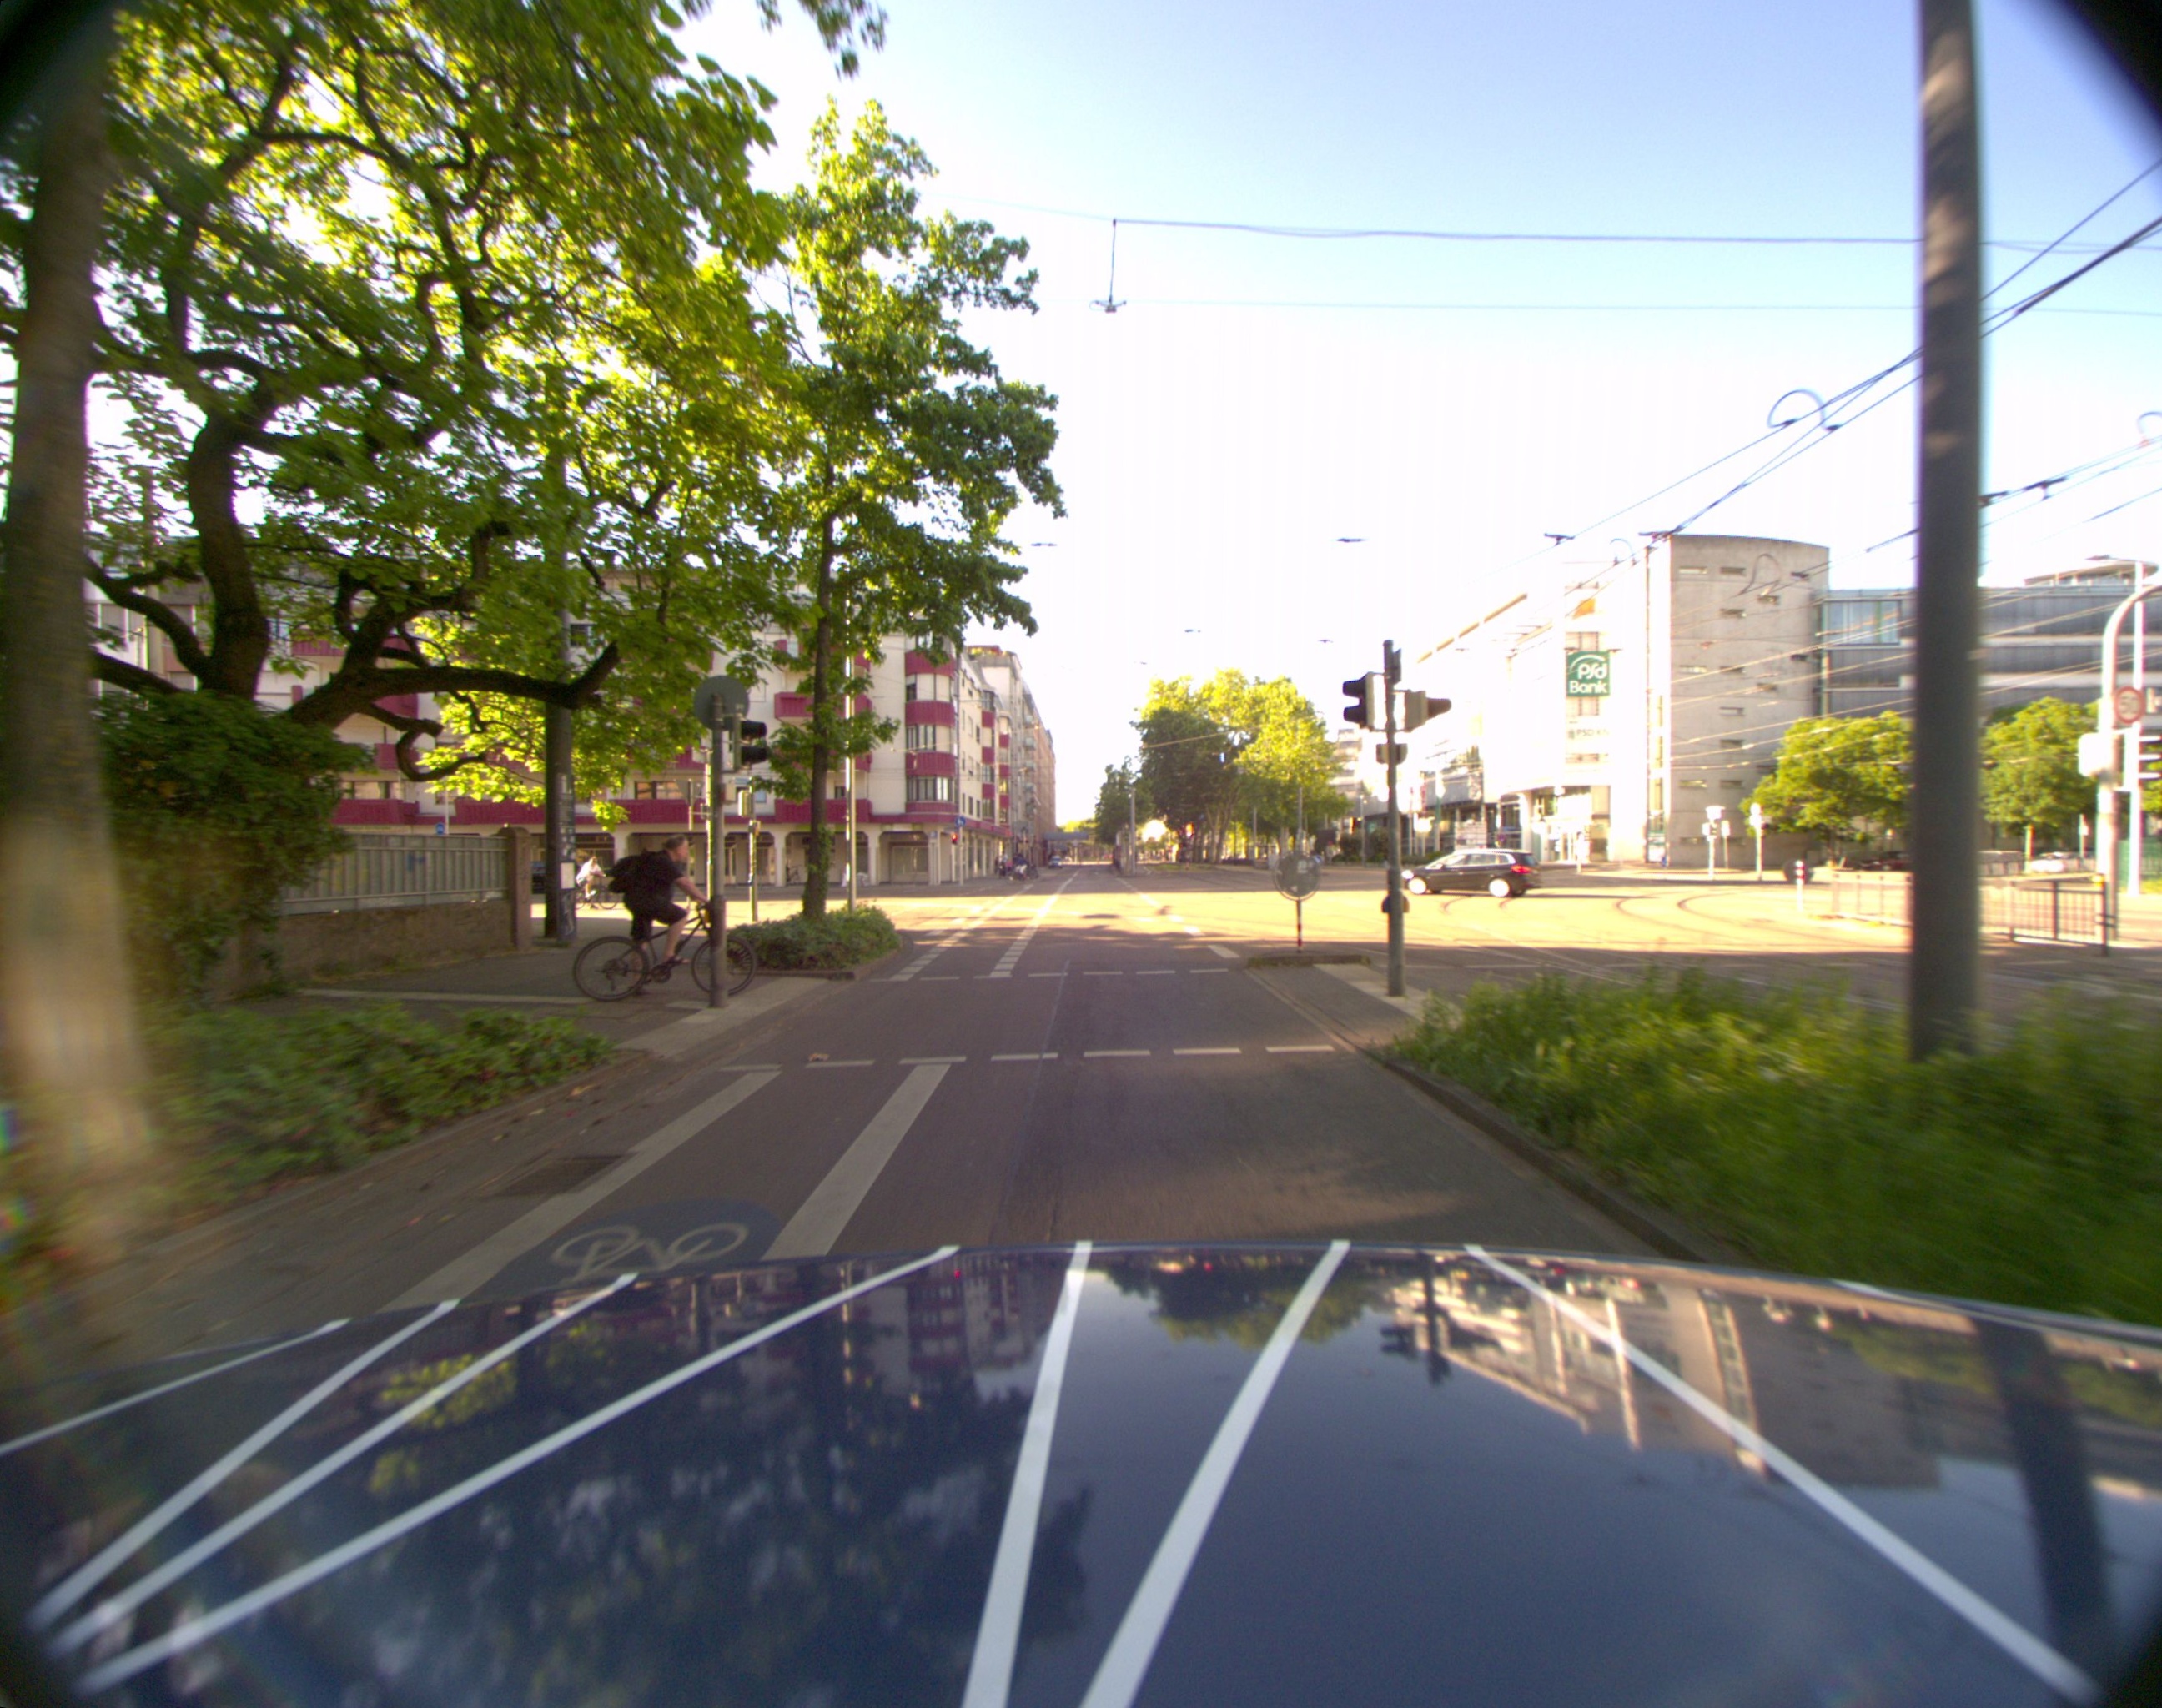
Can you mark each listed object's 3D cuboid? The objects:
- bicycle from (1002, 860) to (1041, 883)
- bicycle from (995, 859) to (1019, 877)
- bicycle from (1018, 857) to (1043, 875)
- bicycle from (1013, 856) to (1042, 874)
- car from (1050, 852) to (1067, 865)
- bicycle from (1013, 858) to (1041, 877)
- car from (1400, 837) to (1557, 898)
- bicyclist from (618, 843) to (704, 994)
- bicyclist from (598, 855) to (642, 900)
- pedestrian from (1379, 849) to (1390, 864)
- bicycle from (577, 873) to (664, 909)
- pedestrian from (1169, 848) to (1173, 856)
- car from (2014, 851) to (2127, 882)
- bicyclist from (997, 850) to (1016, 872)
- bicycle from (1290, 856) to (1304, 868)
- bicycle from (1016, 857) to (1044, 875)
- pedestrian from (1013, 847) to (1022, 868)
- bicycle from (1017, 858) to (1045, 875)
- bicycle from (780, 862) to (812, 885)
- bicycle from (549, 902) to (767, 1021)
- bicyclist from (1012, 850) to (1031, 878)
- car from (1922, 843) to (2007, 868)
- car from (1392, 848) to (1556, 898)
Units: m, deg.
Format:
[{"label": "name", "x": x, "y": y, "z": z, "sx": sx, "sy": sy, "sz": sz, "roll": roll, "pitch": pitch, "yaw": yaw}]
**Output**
[{"label": "bicycle", "x": -3.258, "y": 0.947, "z": 41.542, "sx": 2.044, "sy": 1.182, "sz": 0.590, "roll": -1, "pitch": 1, "yaw": -15}, {"label": "bicycle", "x": -5.186, "y": 0.958, "z": 53.378, "sx": 0.962, "sy": 1.176, "sz": 2.600, "roll": -1, "pitch": 0, "yaw": 10}, {"label": "bicycle", "x": -3.457, "y": 0.837, "z": 51.705, "sx": 1.626, "sy": 1.192, "sz": 0.496, "roll": 0, "pitch": 1, "yaw": 6}, {"label": "bicycle", "x": -3.735, "y": 0.779, "z": 53.156, "sx": 1.982, "sy": 1.192, "sz": 0.591, "roll": 0, "pitch": 1, "yaw": -3}, {"label": "car", "x": -2.951, "y": 0.609, "z": 98.774, "sx": 1.837, "sy": 1.613, "sz": 4.285, "roll": 2, "pitch": 0, "yaw": 2}, {"label": "bicycle", "x": -3.608, "y": 0.907, "z": 50.970, "sx": 1.805, "sy": 1.193, "sz": 0.546, "roll": 0, "pitch": 2, "yaw": 6}, {"label": "car", "x": 13.718, "y": 0.447, "z": 26.401, "sx": 2.004, "sy": 1.936, "sz": 4.411, "roll": -1, "pitch": 0, "yaw": -44}, {"label": "bicyclist", "x": -4.443, "y": 0.645, "z": 8.086, "sx": 0.703, "sy": 1.501, "sz": 0.750, "roll": -1, "pitch": 1, "yaw": -23}, {"label": "bicyclist", "x": -15.506, "y": 0.780, "z": 25.603, "sx": 0.928, "sy": 1.500, "sz": 1.011, "roll": -1, "pitch": 0, "yaw": -9}, {"label": "pedestrian", "x": 31.992, "y": 0.222, "z": 80.073, "sx": 0.908, "sy": 1.583, "sz": 0.767, "roll": 0, "pitch": 1, "yaw": 1}, {"label": "bicycle", "x": -15.480, "y": 1.237, "z": 25.610, "sx": 2.331, "sy": 1.112, "sz": 0.845, "roll": -1, "pitch": 0, "yaw": -10}, {"label": "pedestrian", "x": 18.514, "y": -0.405, "z": 156.759, "sx": 0.656, "sy": 1.744, "sz": 0.676, "roll": -1, "pitch": 1, "yaw": -6}, {"label": "car", "x": 55.849, "y": 0.689, "z": 42.942, "sx": 3.969, "sy": 1.687, "sz": 2.107, "roll": 0, "pitch": 0, "yaw": -5}, {"label": "bicyclist", "x": -5.209, "y": 0.472, "z": 53.235, "sx": 1.058, "sy": 1.531, "sz": 1.080, "roll": 0, "pitch": 1, "yaw": 10}, {"label": "bicycle", "x": 17.609, "y": 0.616, "z": 62.012, "sx": 0.814, "sy": 0.940, "sz": 1.727, "roll": -1, "pitch": 0, "yaw": 8}, {"label": "bicycle", "x": -3.487, "y": 0.827, "z": 52.278, "sx": 1.835, "sy": 1.213, "sz": 0.496, "roll": -1, "pitch": 1, "yaw": 5}, {"label": "pedestrian", "x": -5.730, "y": 0.320, "z": 68.360, "sx": 0.724, "sy": 1.847, "sz": 0.801, "roll": 0, "pitch": 1, "yaw": 1}, {"label": "bicycle", "x": -3.504, "y": 0.897, "z": 53.787, "sx": 1.945, "sy": 1.163, "sz": 0.572, "roll": 0, "pitch": 1, "yaw": -1}, {"label": "bicycle", "x": -15.649, "y": 1.064, "z": 41.673, "sx": 1.793, "sy": 1.192, "sz": 0.617, "roll": 0, "pitch": 1, "yaw": 29}, {"label": "bicycle", "x": -4.415, "y": 1.093, "z": 8.098, "sx": 1.953, "sy": 1.064, "sz": 0.640, "roll": -1, "pitch": 1, "yaw": -23}, {"label": "bicyclist", "x": -3.262, "y": 0.540, "z": 41.546, "sx": 0.882, "sy": 1.485, "sz": 0.722, "roll": -1, "pitch": 1, "yaw": -15}, {"label": "car", "x": 62.371, "y": 0.087, "z": 53.670, "sx": 3.950, "sy": 1.644, "sz": 1.735, "roll": -1, "pitch": 1, "yaw": 0}, {"label": "car", "x": 13.733, "y": 0.600, "z": 26.794, "sx": 2.004, "sy": 1.607, "sz": 4.742, "roll": 0, "pitch": 0, "yaw": -39}]
